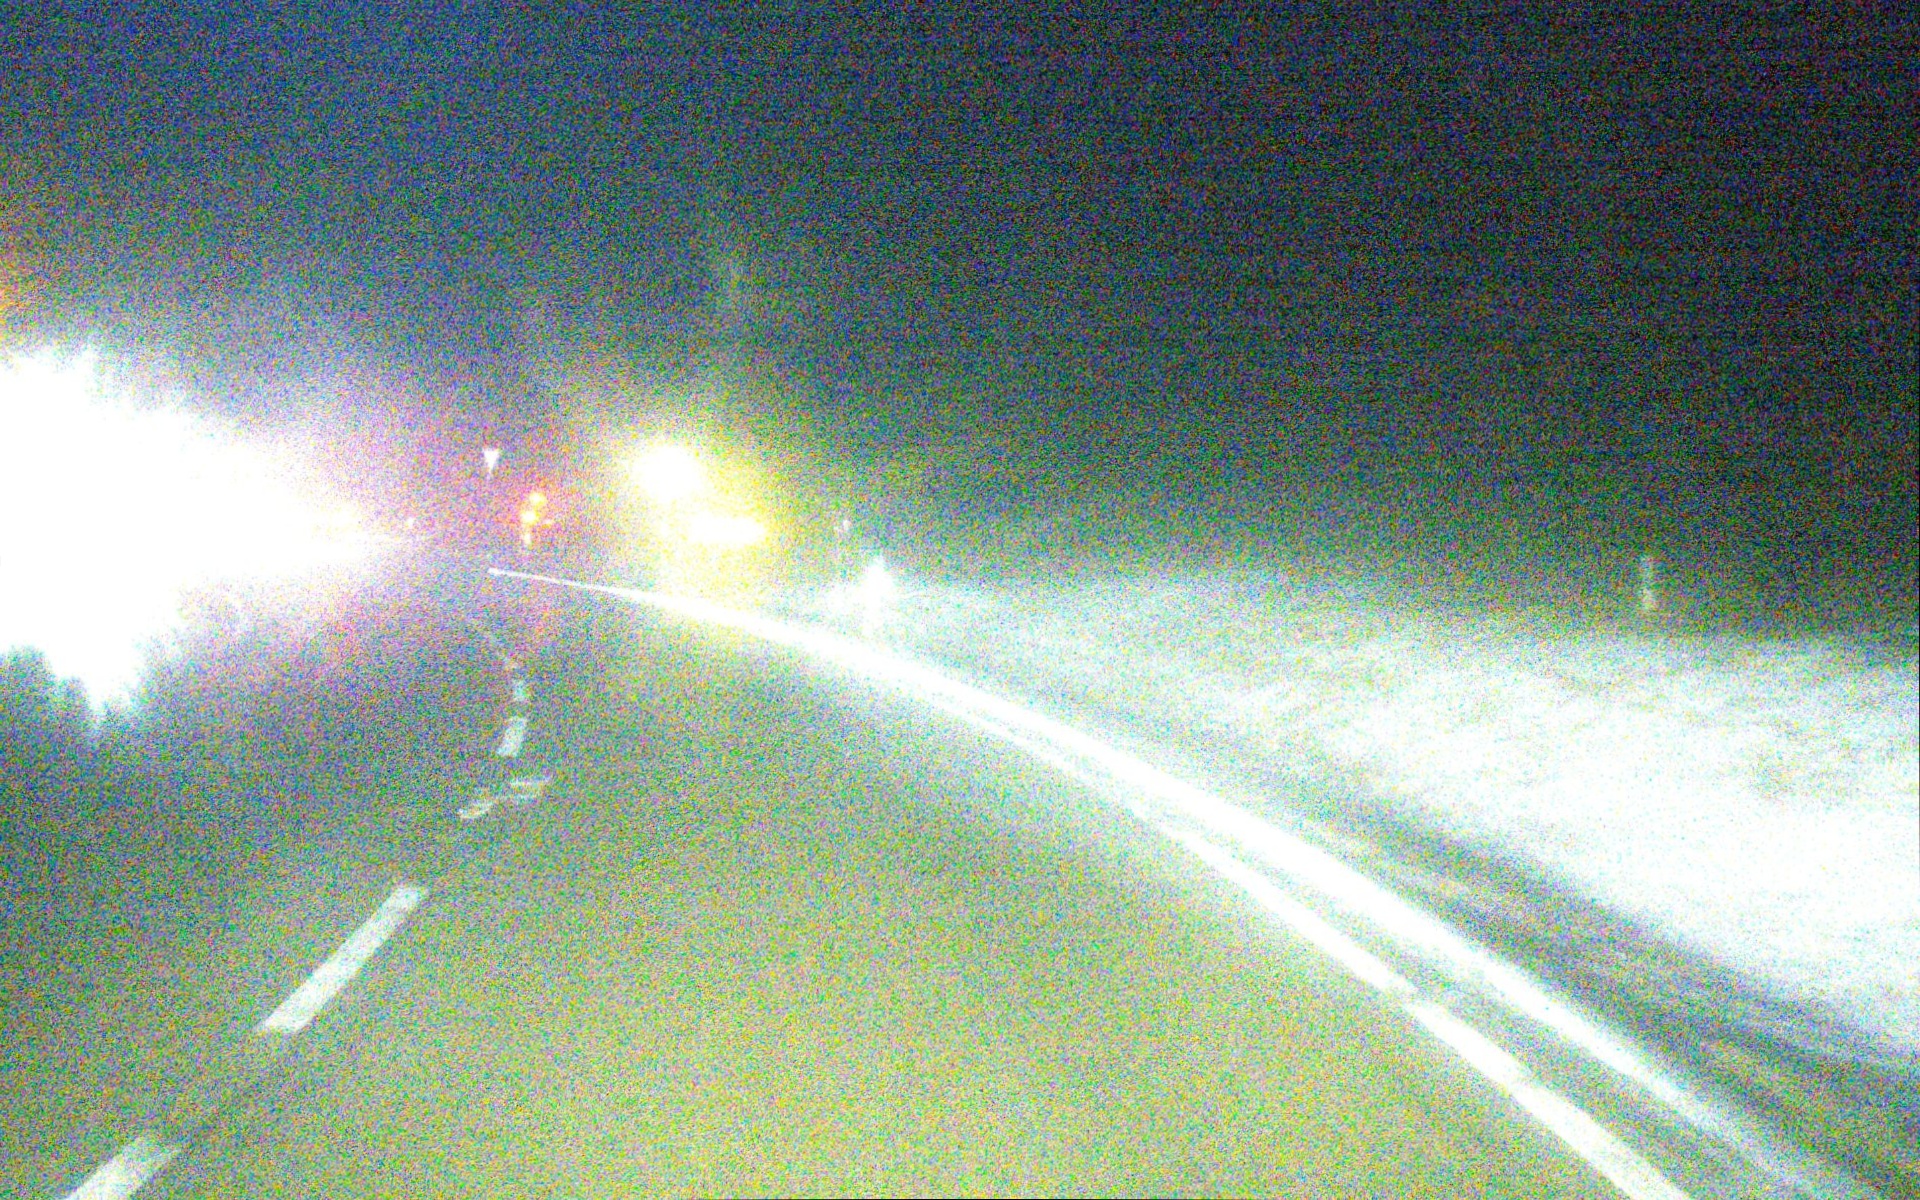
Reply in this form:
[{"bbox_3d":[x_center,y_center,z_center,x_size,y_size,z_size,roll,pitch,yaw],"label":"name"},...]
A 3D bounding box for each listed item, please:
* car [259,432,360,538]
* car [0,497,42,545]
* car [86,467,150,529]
[{"bbox_3d":[-17.631,-3.158,93.131,2.538,2.489,5.717,2,4,-11],"label":"car"},{"bbox_3d":[-31.697,-2.638,113.787,1.955,1.517,4.400,2,1,-23],"label":"car"},{"bbox_3d":[-28.907,-3.493,118.081,1.993,2.007,4.001,2,1,-13],"label":"car"}]
